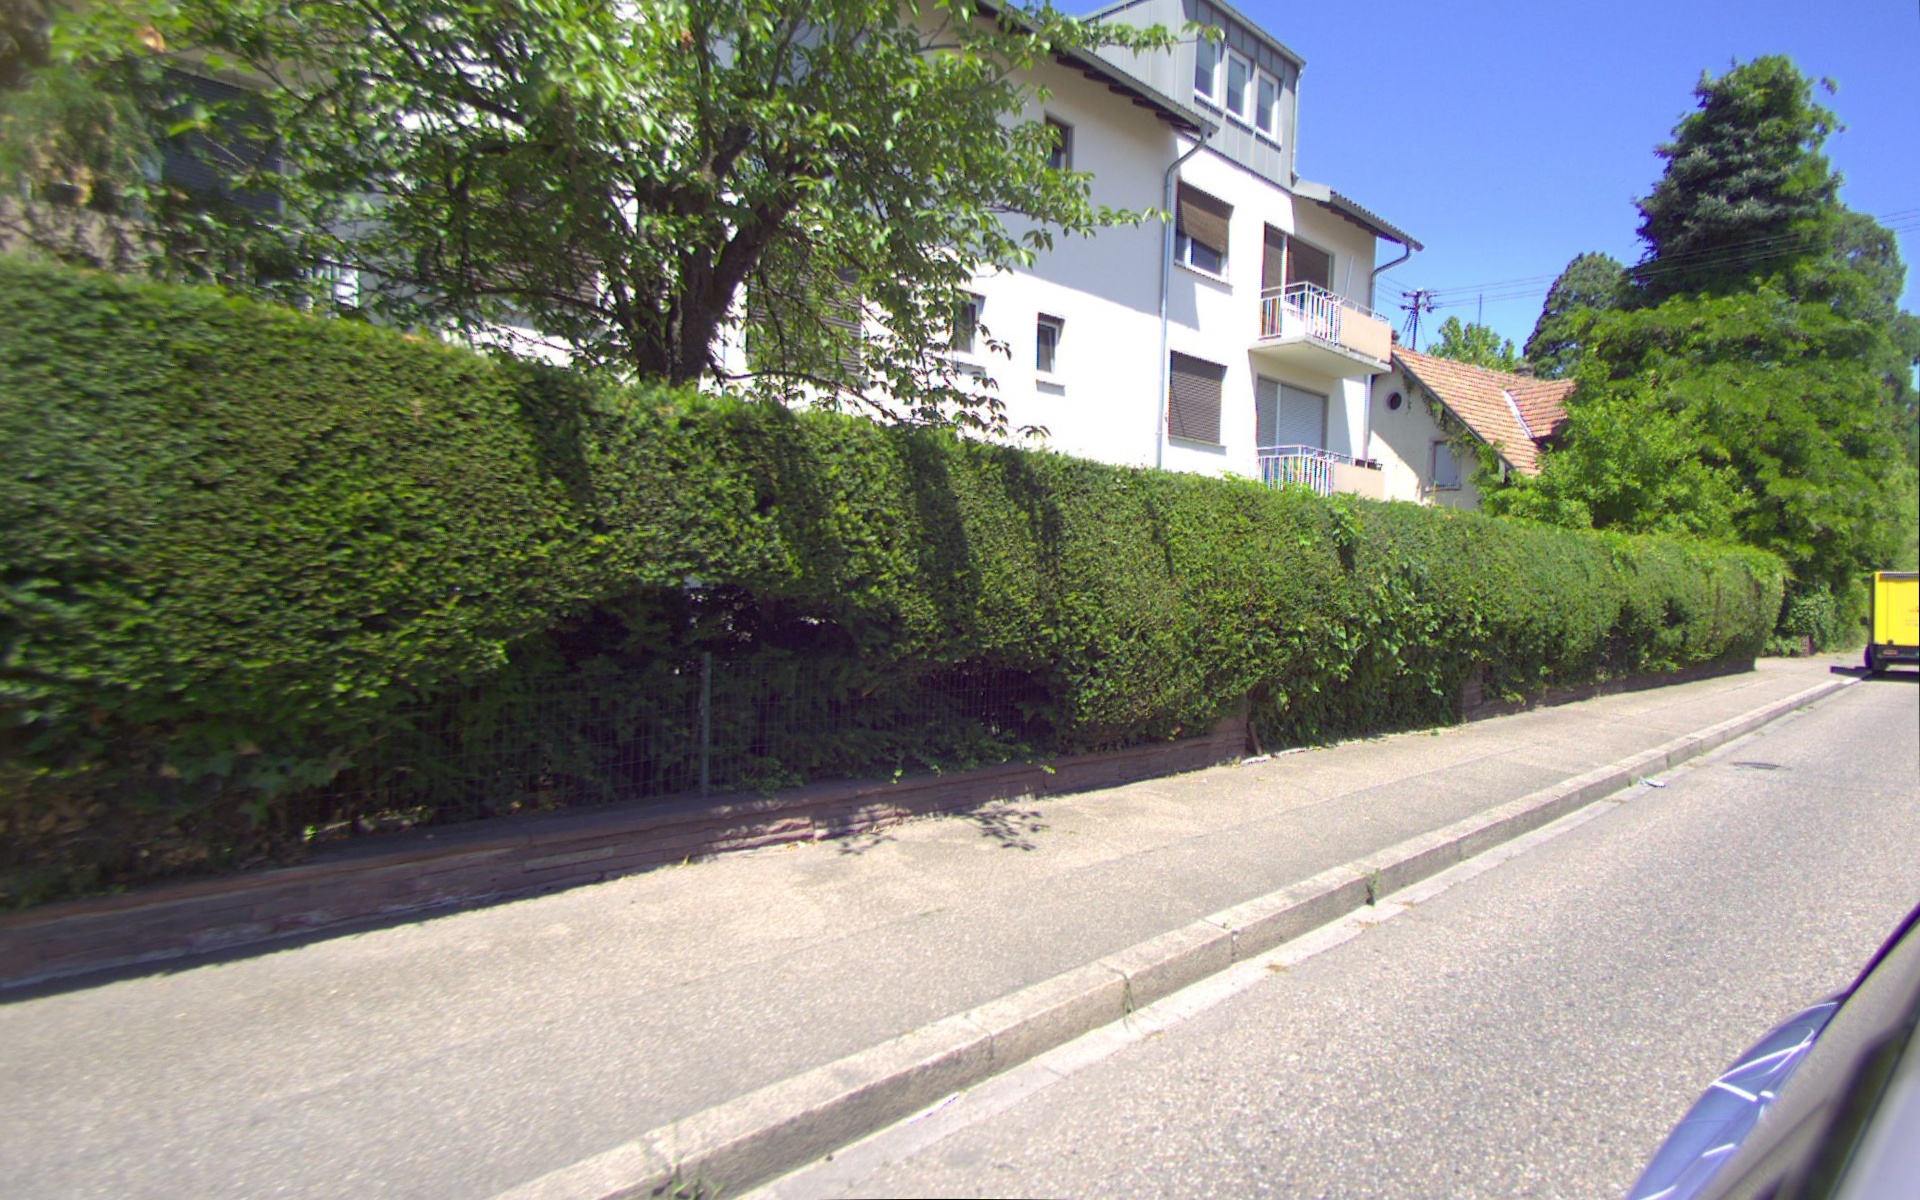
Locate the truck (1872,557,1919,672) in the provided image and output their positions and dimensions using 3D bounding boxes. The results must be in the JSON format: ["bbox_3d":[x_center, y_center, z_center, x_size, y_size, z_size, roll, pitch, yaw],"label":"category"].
[{"bbox_3d":[21.741,0.326,22.484,2.011,2.338,6.084,-1,-1,41],"label":"truck"}]
